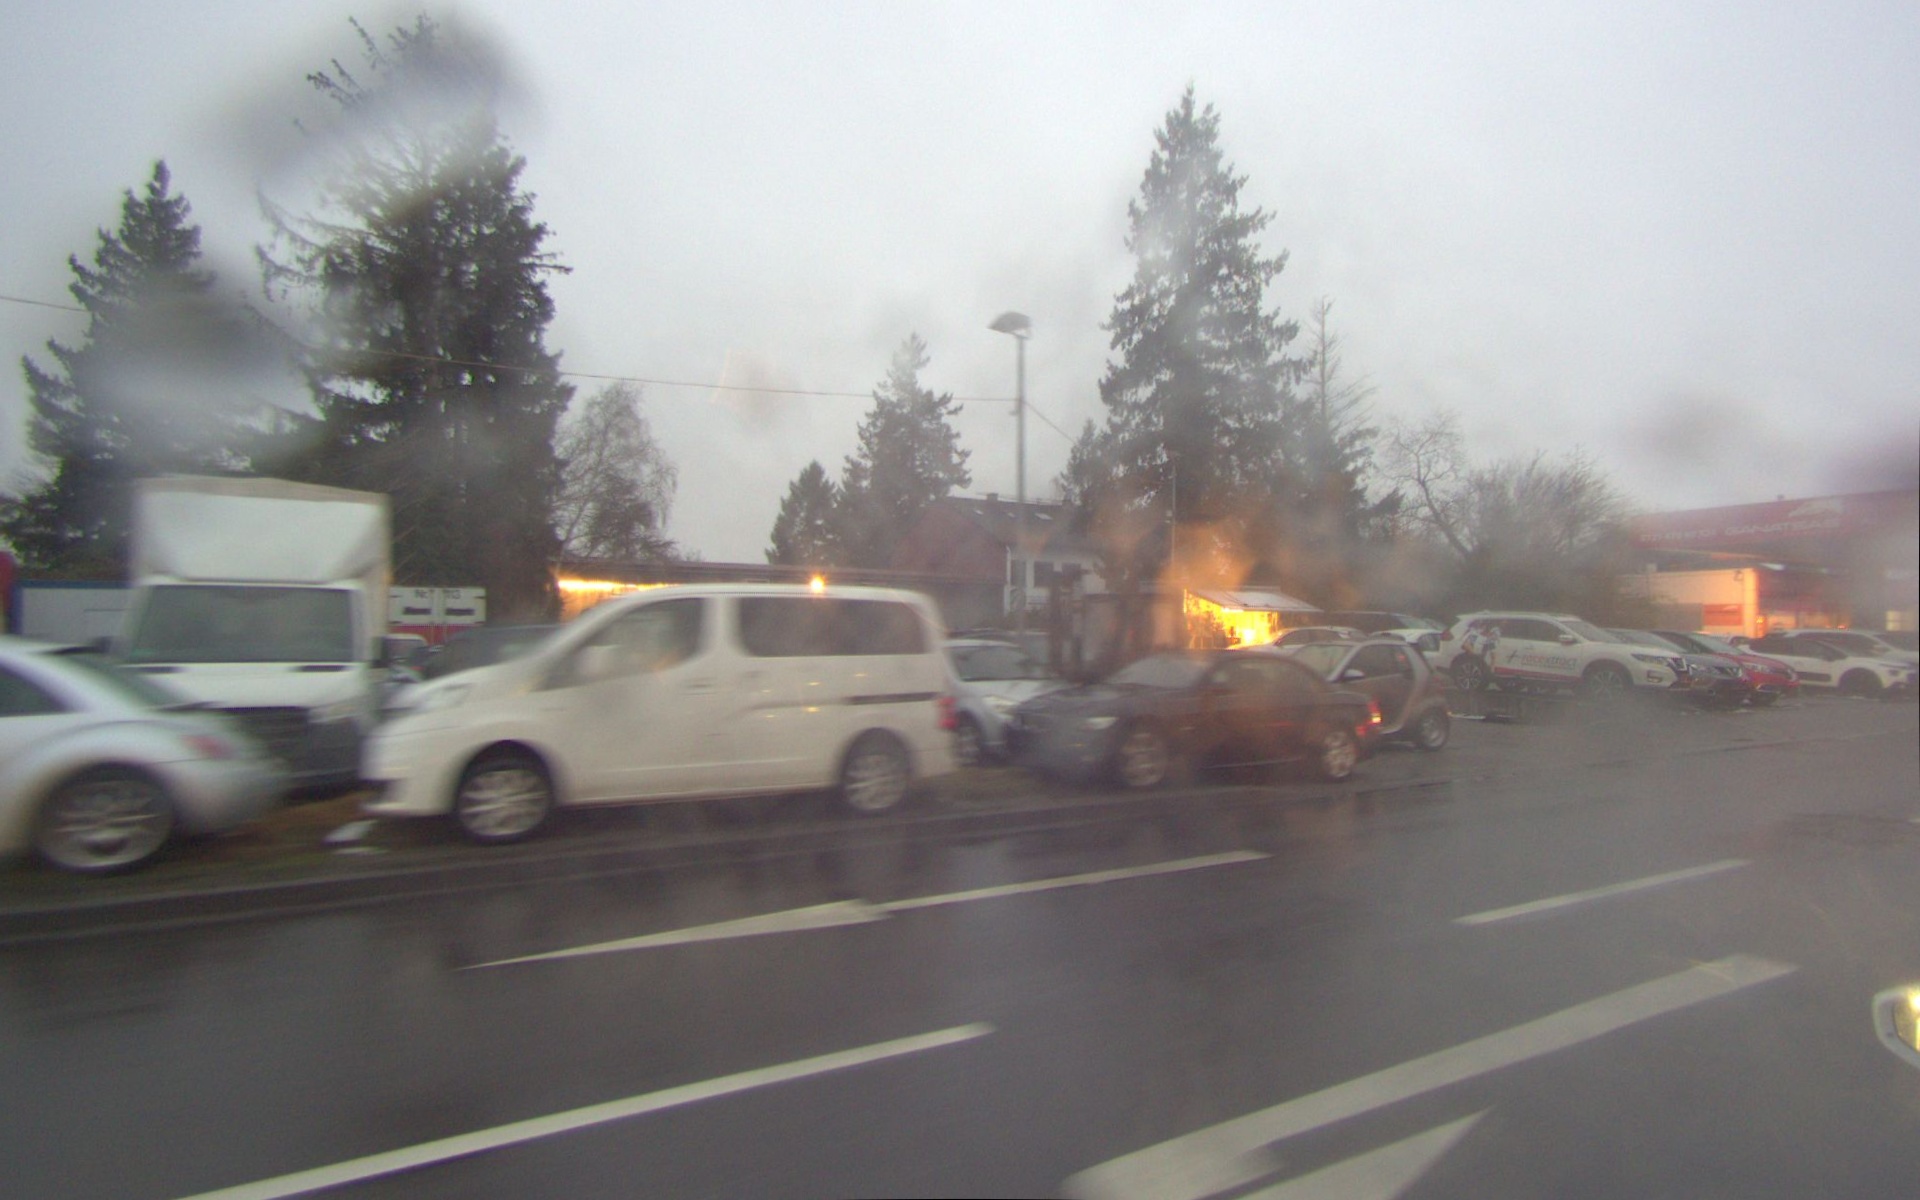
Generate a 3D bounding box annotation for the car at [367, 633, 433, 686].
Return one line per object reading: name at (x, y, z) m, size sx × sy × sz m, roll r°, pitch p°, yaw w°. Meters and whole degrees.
car at (-14.374, 1.480, 25.746) m, size 1.330 × 1.234 × 2.785 m, roll 1°, pitch -2°, yaw -32°

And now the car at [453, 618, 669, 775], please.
car at (-5.508, 1.138, 13.556) m, size 2.003 × 1.755 × 4.027 m, roll 1°, pitch -1°, yaw -32°

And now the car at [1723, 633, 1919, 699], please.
car at (22.672, 1.669, 26.446) m, size 1.756 × 1.479 × 3.752 m, roll 1°, pitch 0°, yaw -31°

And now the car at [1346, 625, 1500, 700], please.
car at (11.294, 1.472, 24.464) m, size 3.665 × 1.699 × 1.660 m, roll 1°, pitch -2°, yaw -32°

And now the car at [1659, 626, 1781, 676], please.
car at (25.191, 1.652, 33.279) m, size 3.823 × 1.509 × 1.826 m, roll 1°, pitch 0°, yaw -28°

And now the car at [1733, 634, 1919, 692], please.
car at (24.149, 1.686, 27.911) m, size 1.818 × 1.363 × 3.841 m, roll 1°, pitch 0°, yaw -29°

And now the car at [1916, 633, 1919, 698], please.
car at (25.064, 1.595, 24.652) m, size 2.979 × 1.563 × 1.511 m, roll 1°, pitch -3°, yaw -30°

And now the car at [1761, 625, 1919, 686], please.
car at (26.422, 1.584, 29.555) m, size 1.917 × 1.672 × 4.033 m, roll 1°, pitch -2°, yaw -27°

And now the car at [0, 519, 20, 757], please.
car at (-10.522, 0.351, 8.705) m, size 2.171 × 2.673 × 6.002 m, roll 1°, pitch -2°, yaw -31°

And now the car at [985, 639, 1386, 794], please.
car at (2.443, 1.155, 10.478) m, size 4.209 × 1.338 × 1.562 m, roll 3°, pitch -4°, yaw -32°

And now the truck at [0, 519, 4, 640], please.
truck at (-22.867, -0.442, 22.329) m, size 2.218 × 2.732 × 4.665 m, roll 1°, pitch -1°, yaw -43°

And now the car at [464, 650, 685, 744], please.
car at (-6.560, 1.586, 17.159) m, size 3.306 × 1.386 × 1.598 m, roll 1°, pitch -2°, yaw -32°

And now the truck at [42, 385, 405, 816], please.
truck at (-7.470, 0.090, 10.981) m, size 2.307 × 3.183 × 6.827 m, roll 1°, pitch -2°, yaw -30°

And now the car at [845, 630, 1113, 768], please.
car at (0.079, 1.225, 13.092) m, size 1.788 × 1.496 × 3.894 m, roll 1°, pitch -5°, yaw -29°

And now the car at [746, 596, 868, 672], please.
car at (-5.053, 1.072, 32.768) m, size 2.245 × 2.311 × 4.202 m, roll 1°, pitch -1°, yaw -36°

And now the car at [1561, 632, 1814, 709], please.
car at (16.340, 1.507, 22.817) m, size 1.803 × 1.518 × 4.318 m, roll 1°, pitch -1°, yaw -28°

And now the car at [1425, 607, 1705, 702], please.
car at (12.164, 1.021, 20.498) m, size 1.989 × 1.699 × 4.508 m, roll 1°, pitch -1°, yaw -33°

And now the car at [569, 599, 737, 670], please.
car at (-10.553, 1.197, 34.745) m, size 5.233 × 2.292 × 1.981 m, roll 1°, pitch -2°, yaw -34°

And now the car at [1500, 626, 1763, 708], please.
car at (14.229, 1.349, 21.571) m, size 1.968 × 1.518 × 4.321 m, roll 1°, pitch -1°, yaw -26°

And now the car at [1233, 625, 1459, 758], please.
car at (5.266, 1.190, 13.721) m, size 2.827 × 1.666 × 1.170 m, roll 1°, pitch -2°, yaw -21°

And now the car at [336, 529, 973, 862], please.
car at (-2.265, 0.647, 8.011) m, size 4.427 × 2.040 × 1.828 m, roll 1°, pitch -2°, yaw -28°

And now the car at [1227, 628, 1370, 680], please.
car at (9.521, 1.505, 28.439) m, size 3.550 × 1.402 × 1.675 m, roll 0°, pitch -1°, yaw 4°

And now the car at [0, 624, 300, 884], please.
car at (-6.291, 0.864, 5.950) m, size 3.791 × 1.430 × 1.644 m, roll 1°, pitch -2°, yaw -28°
